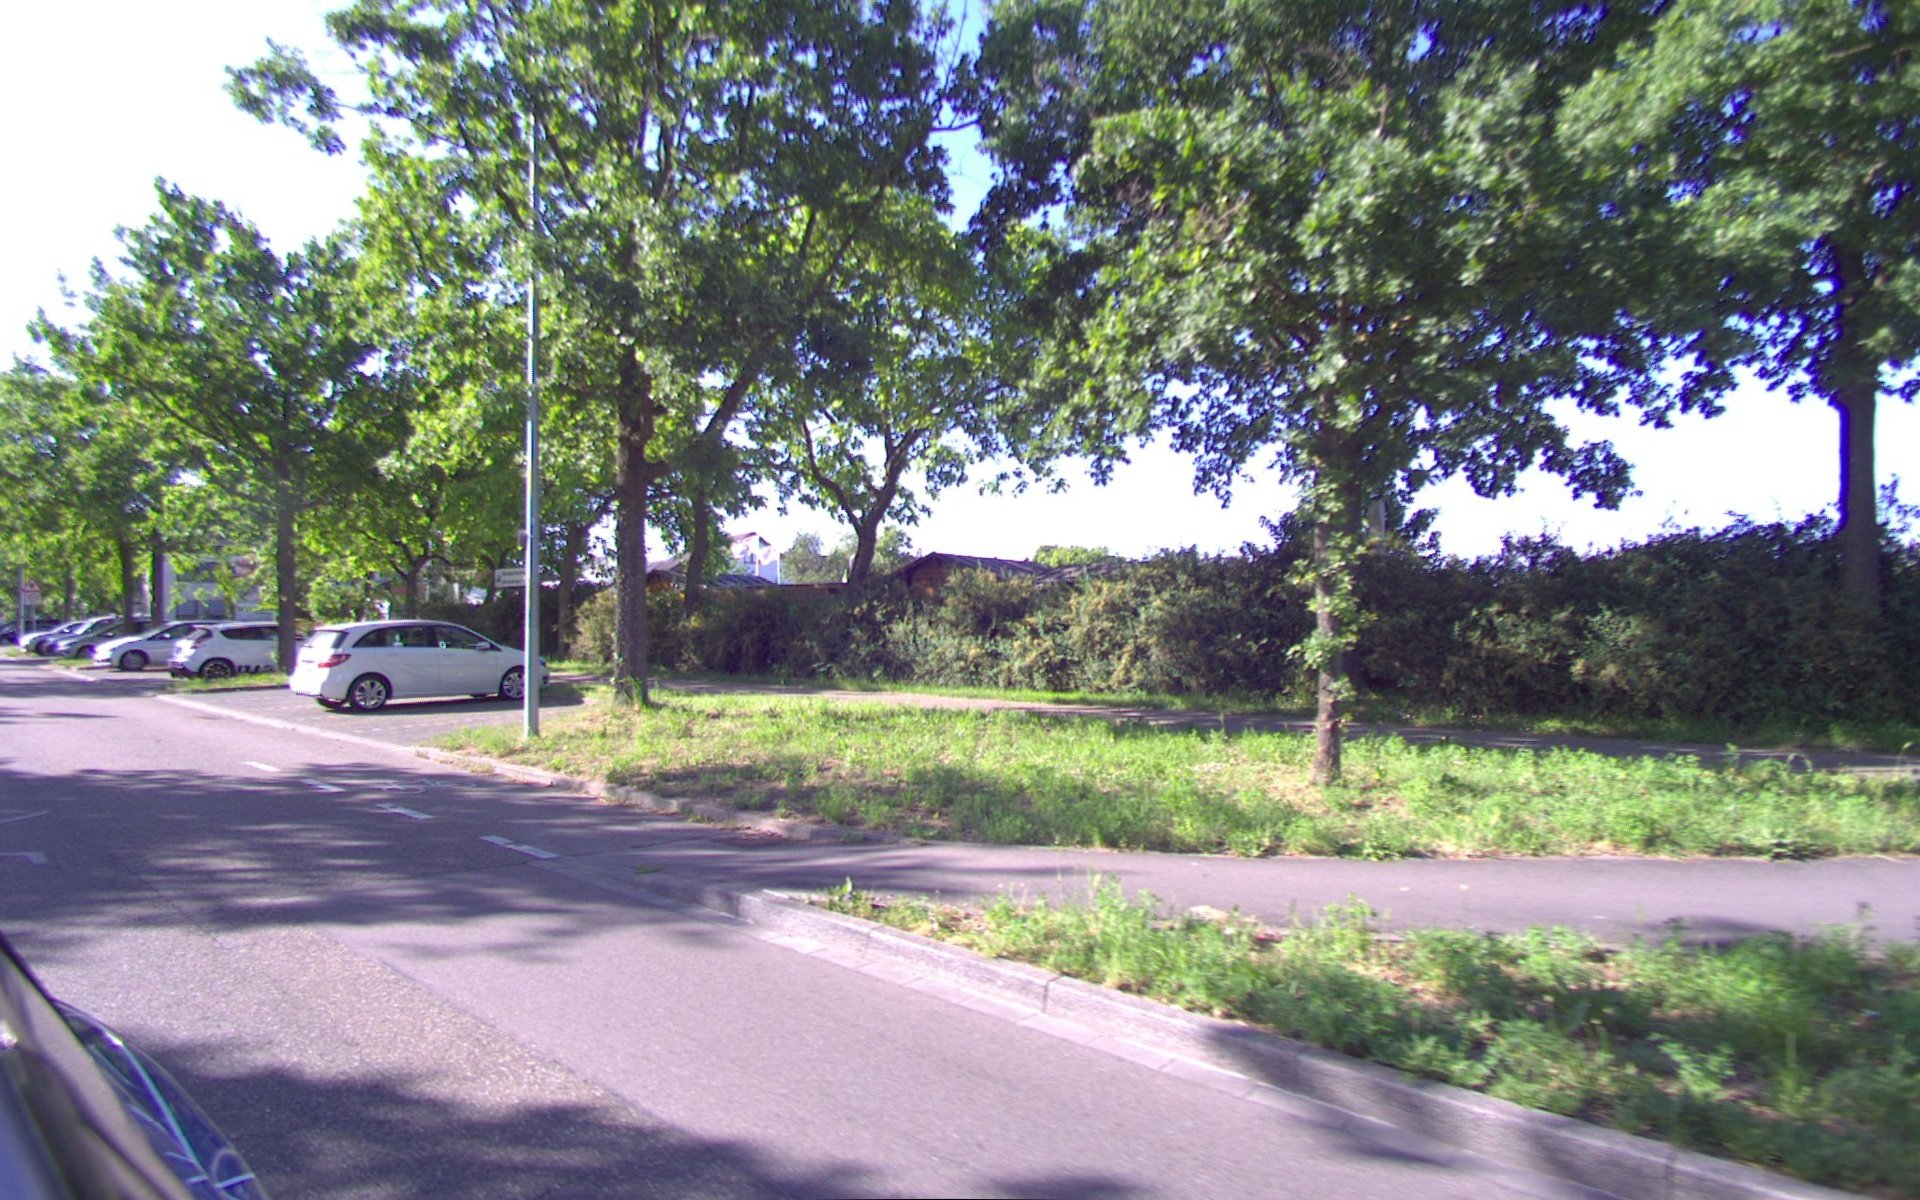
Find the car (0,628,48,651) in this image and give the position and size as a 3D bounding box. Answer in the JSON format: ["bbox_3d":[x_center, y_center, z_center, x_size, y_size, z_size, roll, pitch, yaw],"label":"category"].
[{"bbox_3d":[-75.611,3.163,80.883,3.977,1.791,1.943,2,-3,-42],"label":"car"}]

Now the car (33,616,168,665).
[{"bbox_3d":[-36.814,1.698,43.414,1.998,1.898,4.183,-2,-1,41],"label":"car"}]

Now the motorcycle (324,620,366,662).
[{"bbox_3d":[-22.194,1.466,36.524,1.991,1.443,0.729,-2,1,43],"label":"motorcycle"}]

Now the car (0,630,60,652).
[{"bbox_3d":[-65.261,2.824,70.360,3.977,1.490,1.943,2,-3,-42],"label":"car"}]

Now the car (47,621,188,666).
[{"bbox_3d":[-33.074,1.683,39.809,1.866,1.568,4.090,-2,-1,43],"label":"car"}]

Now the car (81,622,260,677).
[{"bbox_3d":[-25.642,1.551,32.971,2.088,1.568,4.364,-2,-1,43],"label":"car"}]

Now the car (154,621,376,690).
[{"bbox_3d":[-17.898,1.375,26.210,2.087,1.522,4.367,-2,-1,41],"label":"car"}]

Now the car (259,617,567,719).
[{"bbox_3d":[-10.064,1.170,18.924,2.188,1.570,4.583,-2,-1,38],"label":"car"}]

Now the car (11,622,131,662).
[{"bbox_3d":[-41.035,1.914,46.767,1.876,1.655,4.017,-2,-1,44],"label":"car"}]
